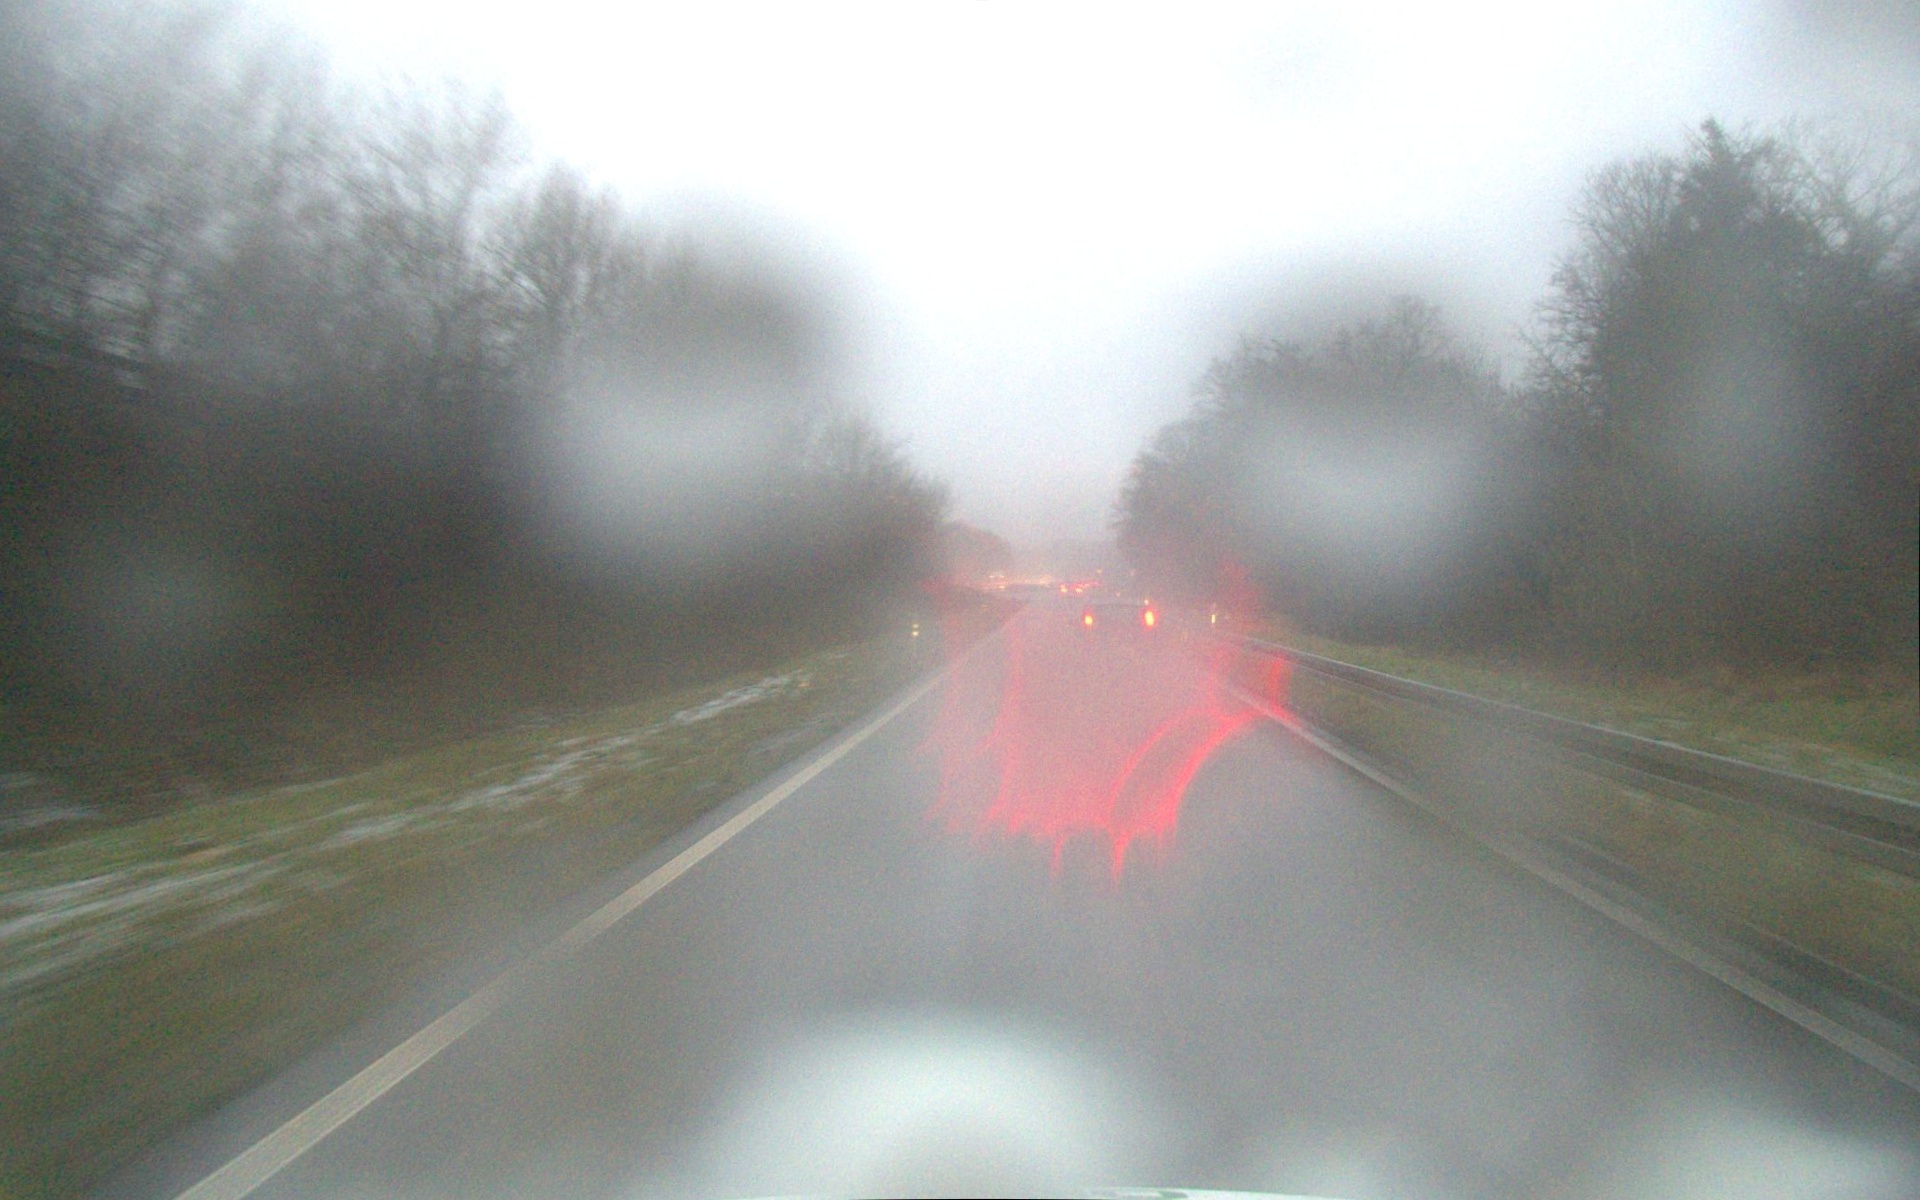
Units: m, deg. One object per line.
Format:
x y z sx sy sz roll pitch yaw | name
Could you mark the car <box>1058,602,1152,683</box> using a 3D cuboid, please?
2.925 0.817 32.880 1.695 1.454 3.768 -3 -1 6 | car
